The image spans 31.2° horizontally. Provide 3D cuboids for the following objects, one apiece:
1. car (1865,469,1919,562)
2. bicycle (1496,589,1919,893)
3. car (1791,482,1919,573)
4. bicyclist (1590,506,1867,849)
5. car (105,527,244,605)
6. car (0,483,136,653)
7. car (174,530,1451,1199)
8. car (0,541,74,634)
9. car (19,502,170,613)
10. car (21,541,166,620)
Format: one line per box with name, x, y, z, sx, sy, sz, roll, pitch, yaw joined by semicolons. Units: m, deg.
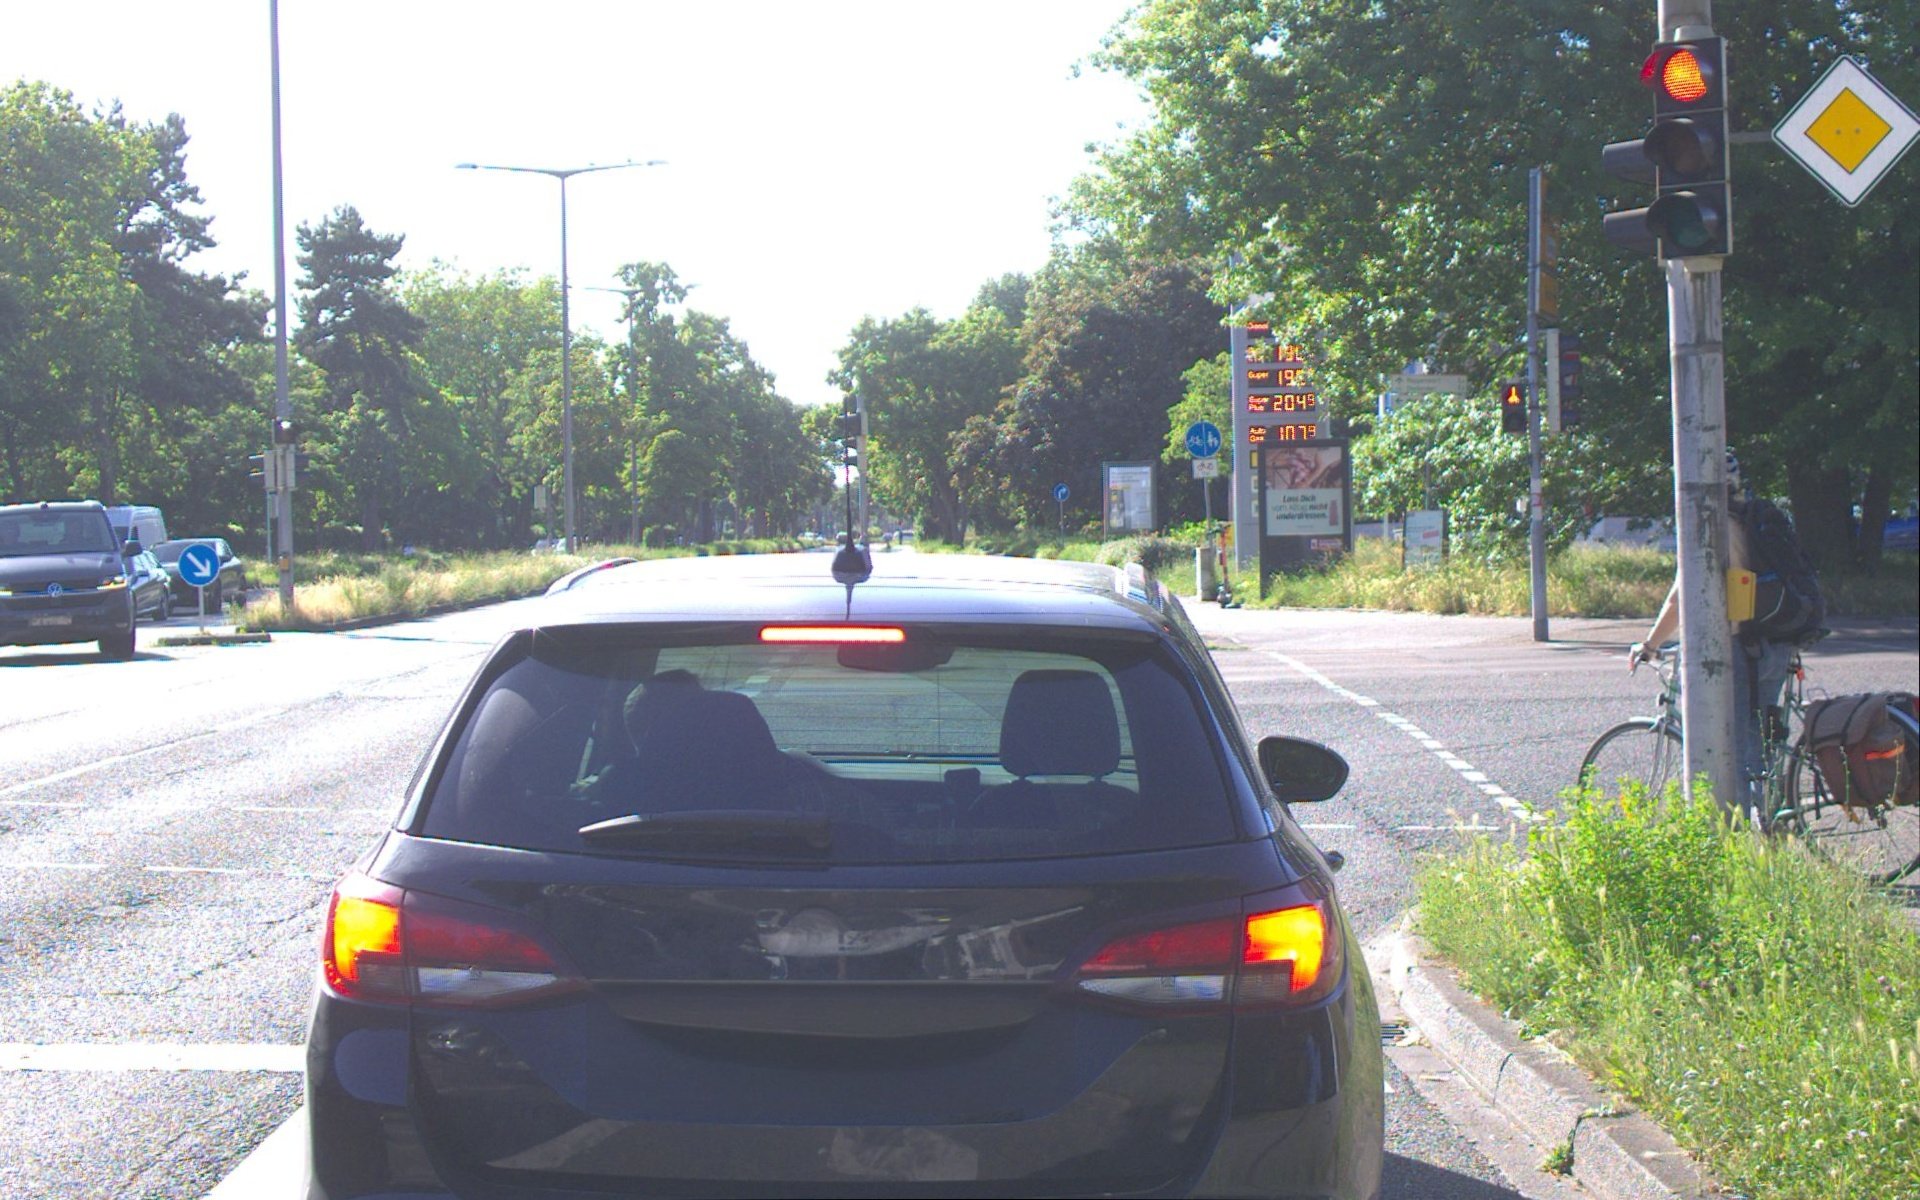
car;17.094;-1.430;56.717;3.887;1.512;1.746;-2;1;-23
bicycle;2.983;0.541;13.333;0.536;1.094;1.775;-3;0;-44
car;16.618;-1.289;59.803;3.887;1.512;1.746;-2;1;-23
bicyclist;2.975;0.300;13.331;0.536;1.272;0.829;-3;0;-44
car;-17.202;-0.768;75.498;1.993;1.596;4.616;-1;1;-1
car;-11.780;-0.414;43.478;1.911;1.985;5.016;-2;1;-22
car;-0.228;0.626;6.847;1.756;1.490;4.207;0;1;-1
car;-16.756;-0.223;59.109;1.888;1.519;4.504;-1;1;-1
car;-20.592;-1.043;82.050;2.100;2.484;6.004;-2;1;-1
car;-16.889;-0.412;67.190;1.686;1.428;4.615;-2;1;-1
